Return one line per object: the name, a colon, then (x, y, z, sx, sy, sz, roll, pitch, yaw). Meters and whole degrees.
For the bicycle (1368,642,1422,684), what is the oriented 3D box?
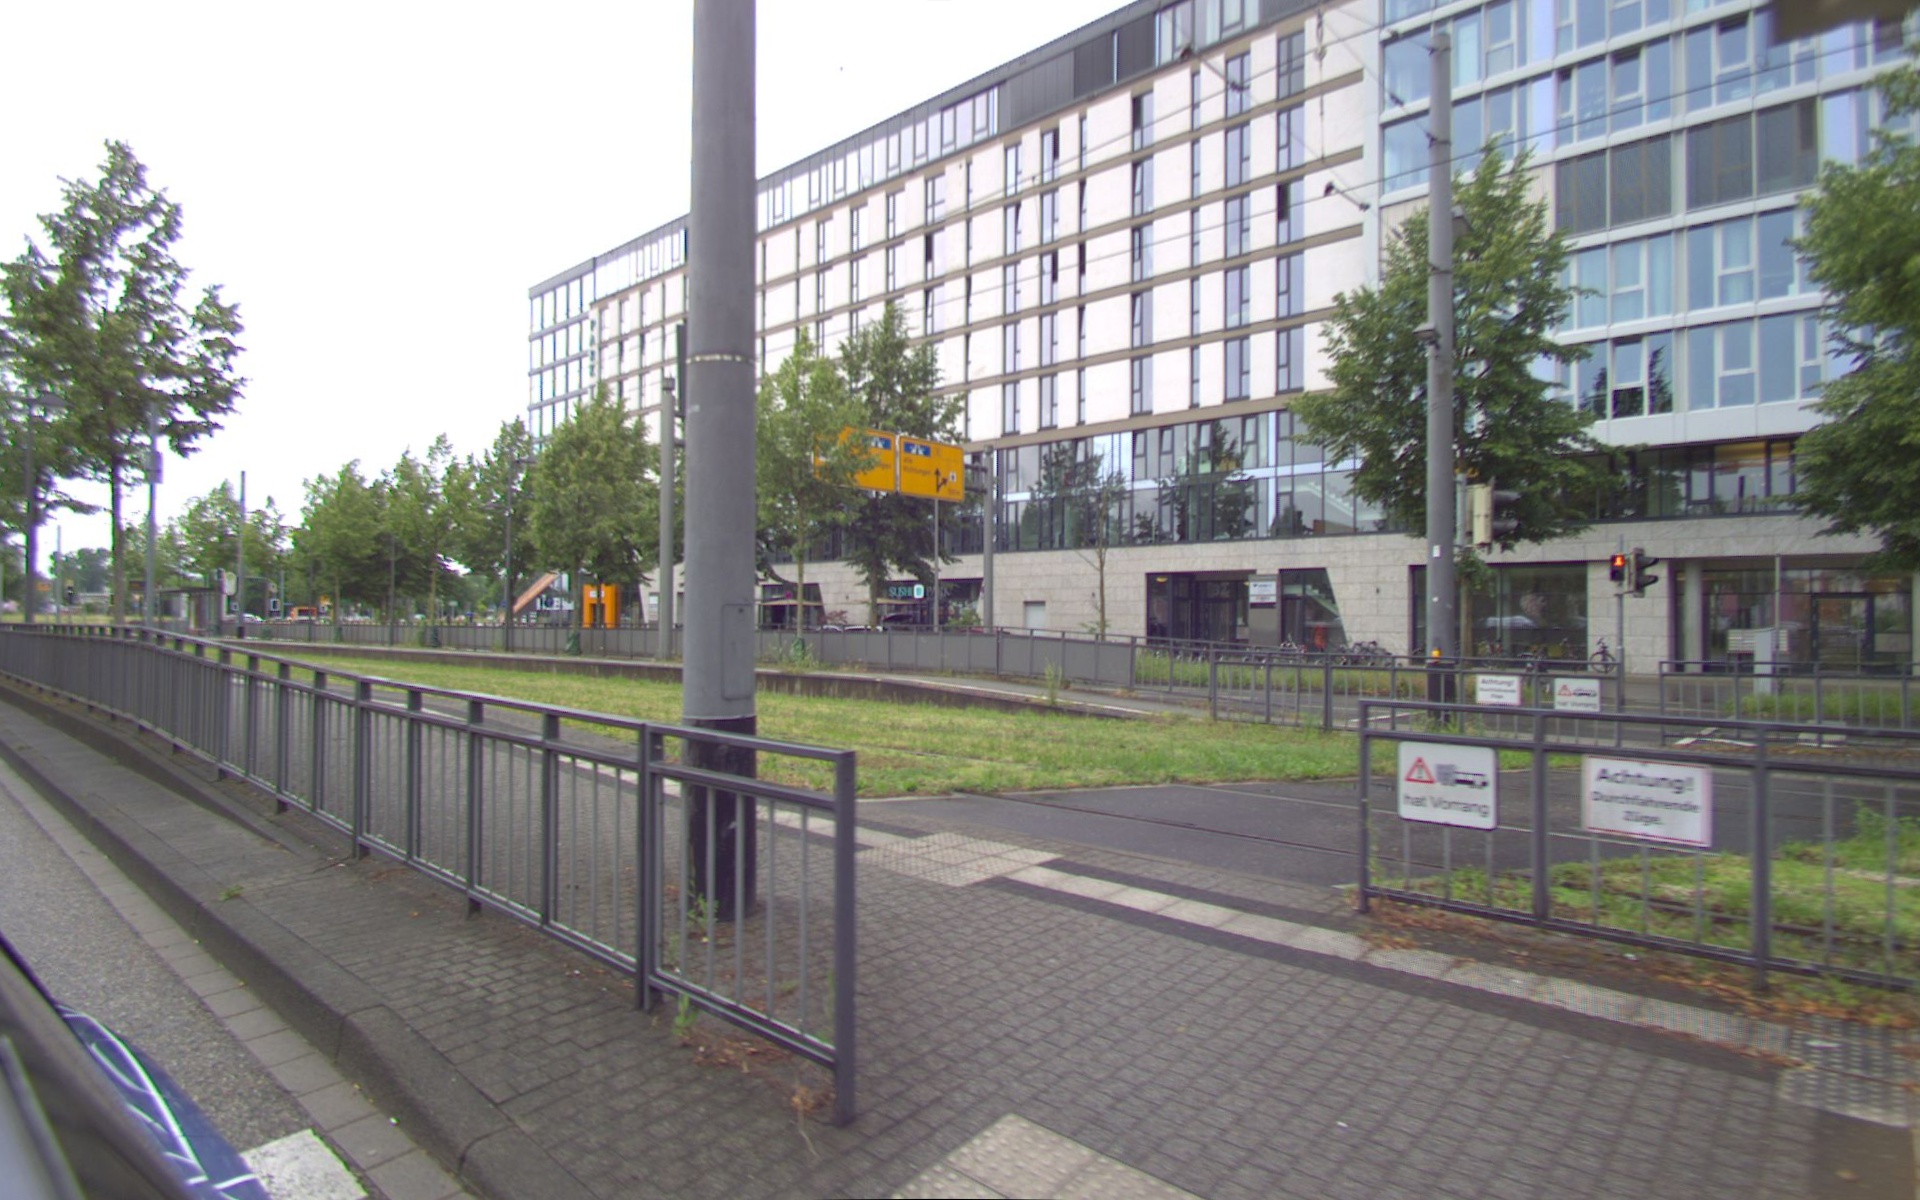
bicycle: (11.558, 1.650, 26.871, 0.696, 1.042, 1.957, -1, -1, 43)

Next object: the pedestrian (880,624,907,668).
pedestrian: (-2.608, 1.782, 39.438, 0.793, 1.704, 0.703, -2, -2, 44)

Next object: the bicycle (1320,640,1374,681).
bicycle: (10.648, 1.643, 27.830, 0.696, 1.042, 1.957, -1, -2, 43)

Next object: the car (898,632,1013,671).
car: (-0.192, 1.805, 36.428, 3.860, 1.298, 1.971, -1, -2, 44)

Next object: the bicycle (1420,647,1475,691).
bicycle: (12.389, 1.731, 25.691, 0.696, 1.042, 1.957, -1, -2, 43)

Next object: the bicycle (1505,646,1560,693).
bicycle: (13.818, 1.659, 24.407, 0.696, 1.042, 1.957, -1, -2, 43)

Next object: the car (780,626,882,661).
car: (-5.261, 1.729, 40.987, 4.071, 1.298, 1.971, -1, -1, 44)

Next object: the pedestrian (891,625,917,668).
pedestrian: (-2.219, 1.832, 40.127, 0.793, 1.704, 0.703, -2, -2, 44)
